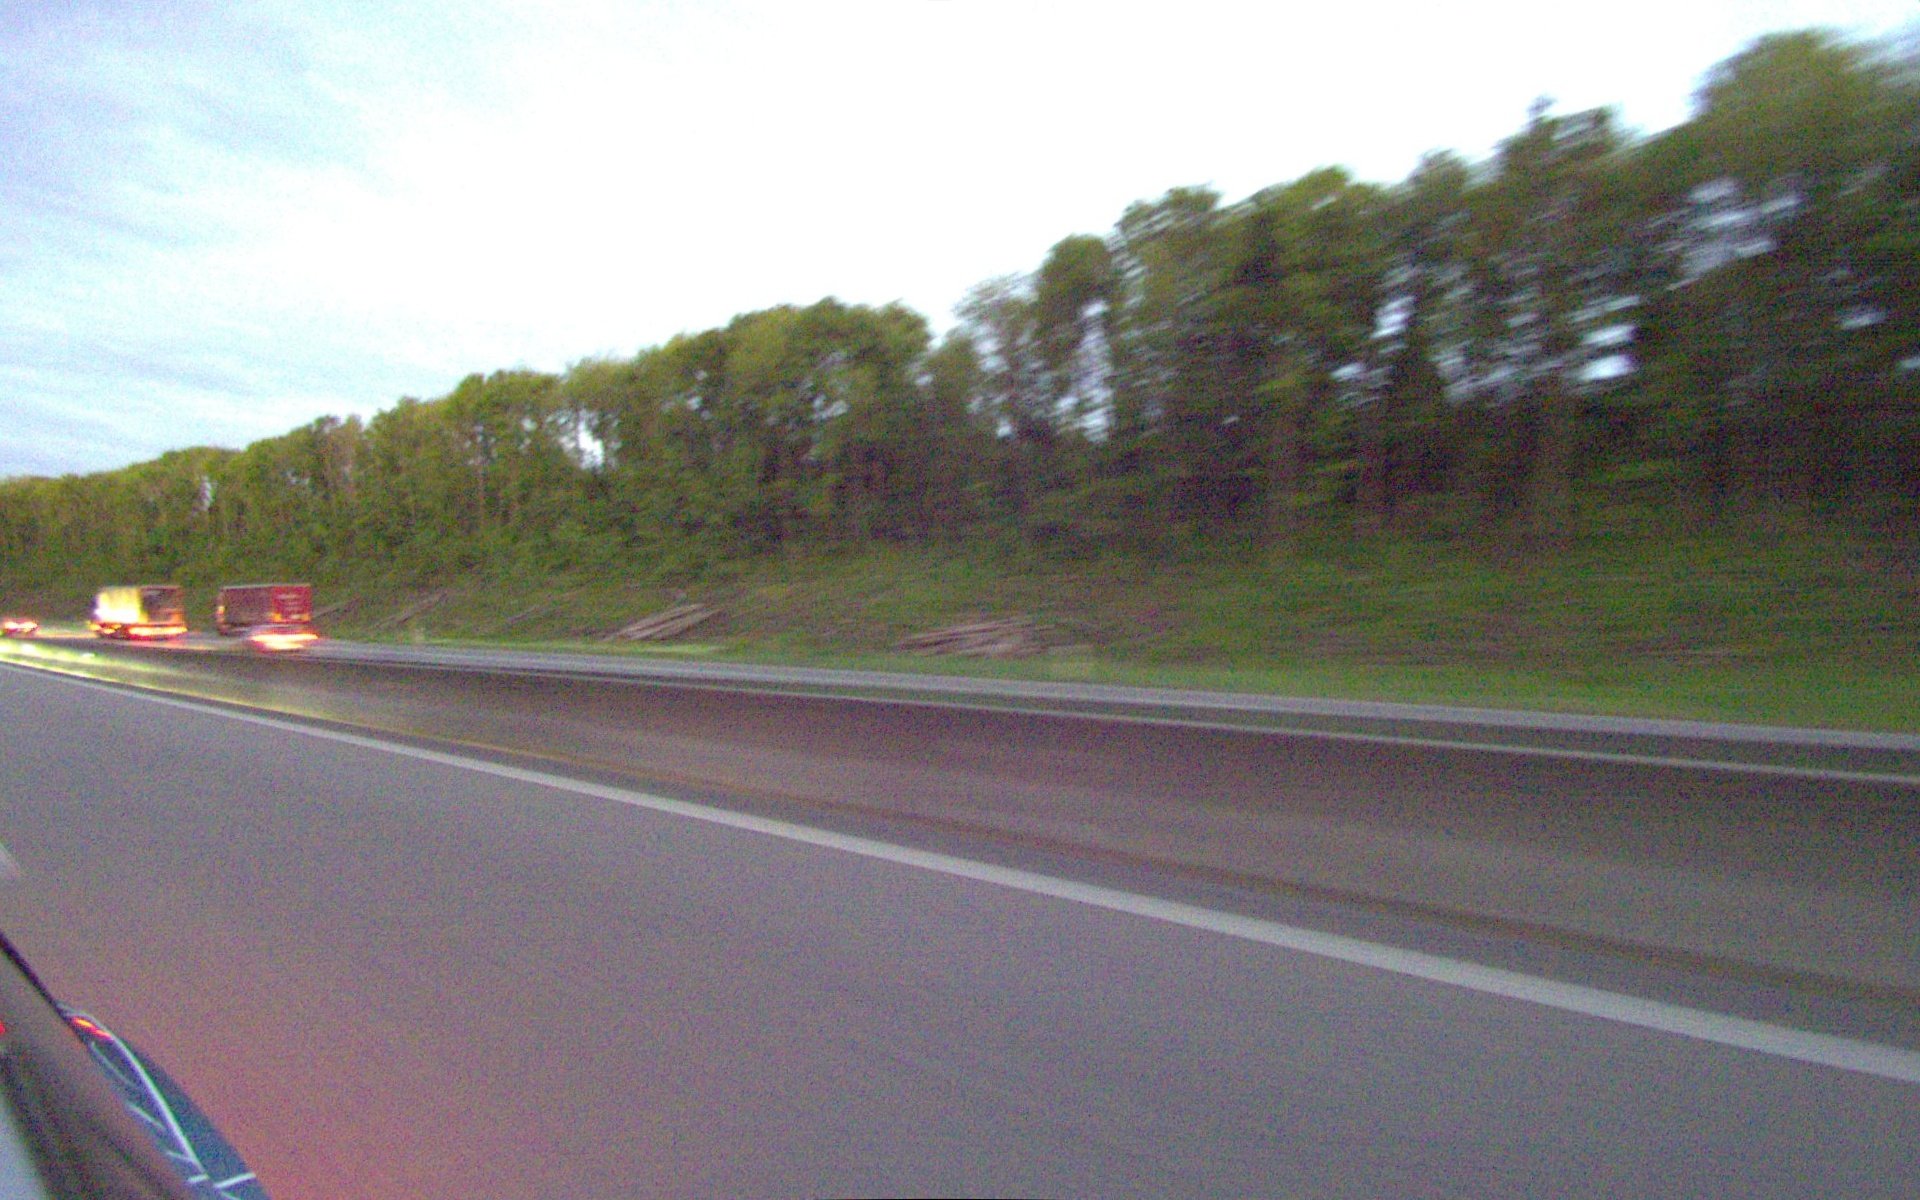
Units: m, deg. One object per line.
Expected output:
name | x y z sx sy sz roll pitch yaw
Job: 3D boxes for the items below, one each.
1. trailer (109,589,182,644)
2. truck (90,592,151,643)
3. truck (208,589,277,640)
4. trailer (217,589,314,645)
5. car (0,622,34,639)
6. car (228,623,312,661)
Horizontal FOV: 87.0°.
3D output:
trailer | -61.869 1.267 76.722 10.181 3.960 2.619 -1 -1 41
truck | -68.381 1.410 82.359 7.117 4.002 2.620 -1 -1 41
truck | -60.503 1.184 85.245 7.687 4.136 3.157 0 0 42
trailer | -55.757 1.264 81.032 14.179 4.136 3.157 0 0 42
car | -85.392 2.761 91.509 5.352 1.462 1.890 -1 -1 41
car | -30.052 1.785 44.037 4.651 1.587 1.861 -1 -2 41
